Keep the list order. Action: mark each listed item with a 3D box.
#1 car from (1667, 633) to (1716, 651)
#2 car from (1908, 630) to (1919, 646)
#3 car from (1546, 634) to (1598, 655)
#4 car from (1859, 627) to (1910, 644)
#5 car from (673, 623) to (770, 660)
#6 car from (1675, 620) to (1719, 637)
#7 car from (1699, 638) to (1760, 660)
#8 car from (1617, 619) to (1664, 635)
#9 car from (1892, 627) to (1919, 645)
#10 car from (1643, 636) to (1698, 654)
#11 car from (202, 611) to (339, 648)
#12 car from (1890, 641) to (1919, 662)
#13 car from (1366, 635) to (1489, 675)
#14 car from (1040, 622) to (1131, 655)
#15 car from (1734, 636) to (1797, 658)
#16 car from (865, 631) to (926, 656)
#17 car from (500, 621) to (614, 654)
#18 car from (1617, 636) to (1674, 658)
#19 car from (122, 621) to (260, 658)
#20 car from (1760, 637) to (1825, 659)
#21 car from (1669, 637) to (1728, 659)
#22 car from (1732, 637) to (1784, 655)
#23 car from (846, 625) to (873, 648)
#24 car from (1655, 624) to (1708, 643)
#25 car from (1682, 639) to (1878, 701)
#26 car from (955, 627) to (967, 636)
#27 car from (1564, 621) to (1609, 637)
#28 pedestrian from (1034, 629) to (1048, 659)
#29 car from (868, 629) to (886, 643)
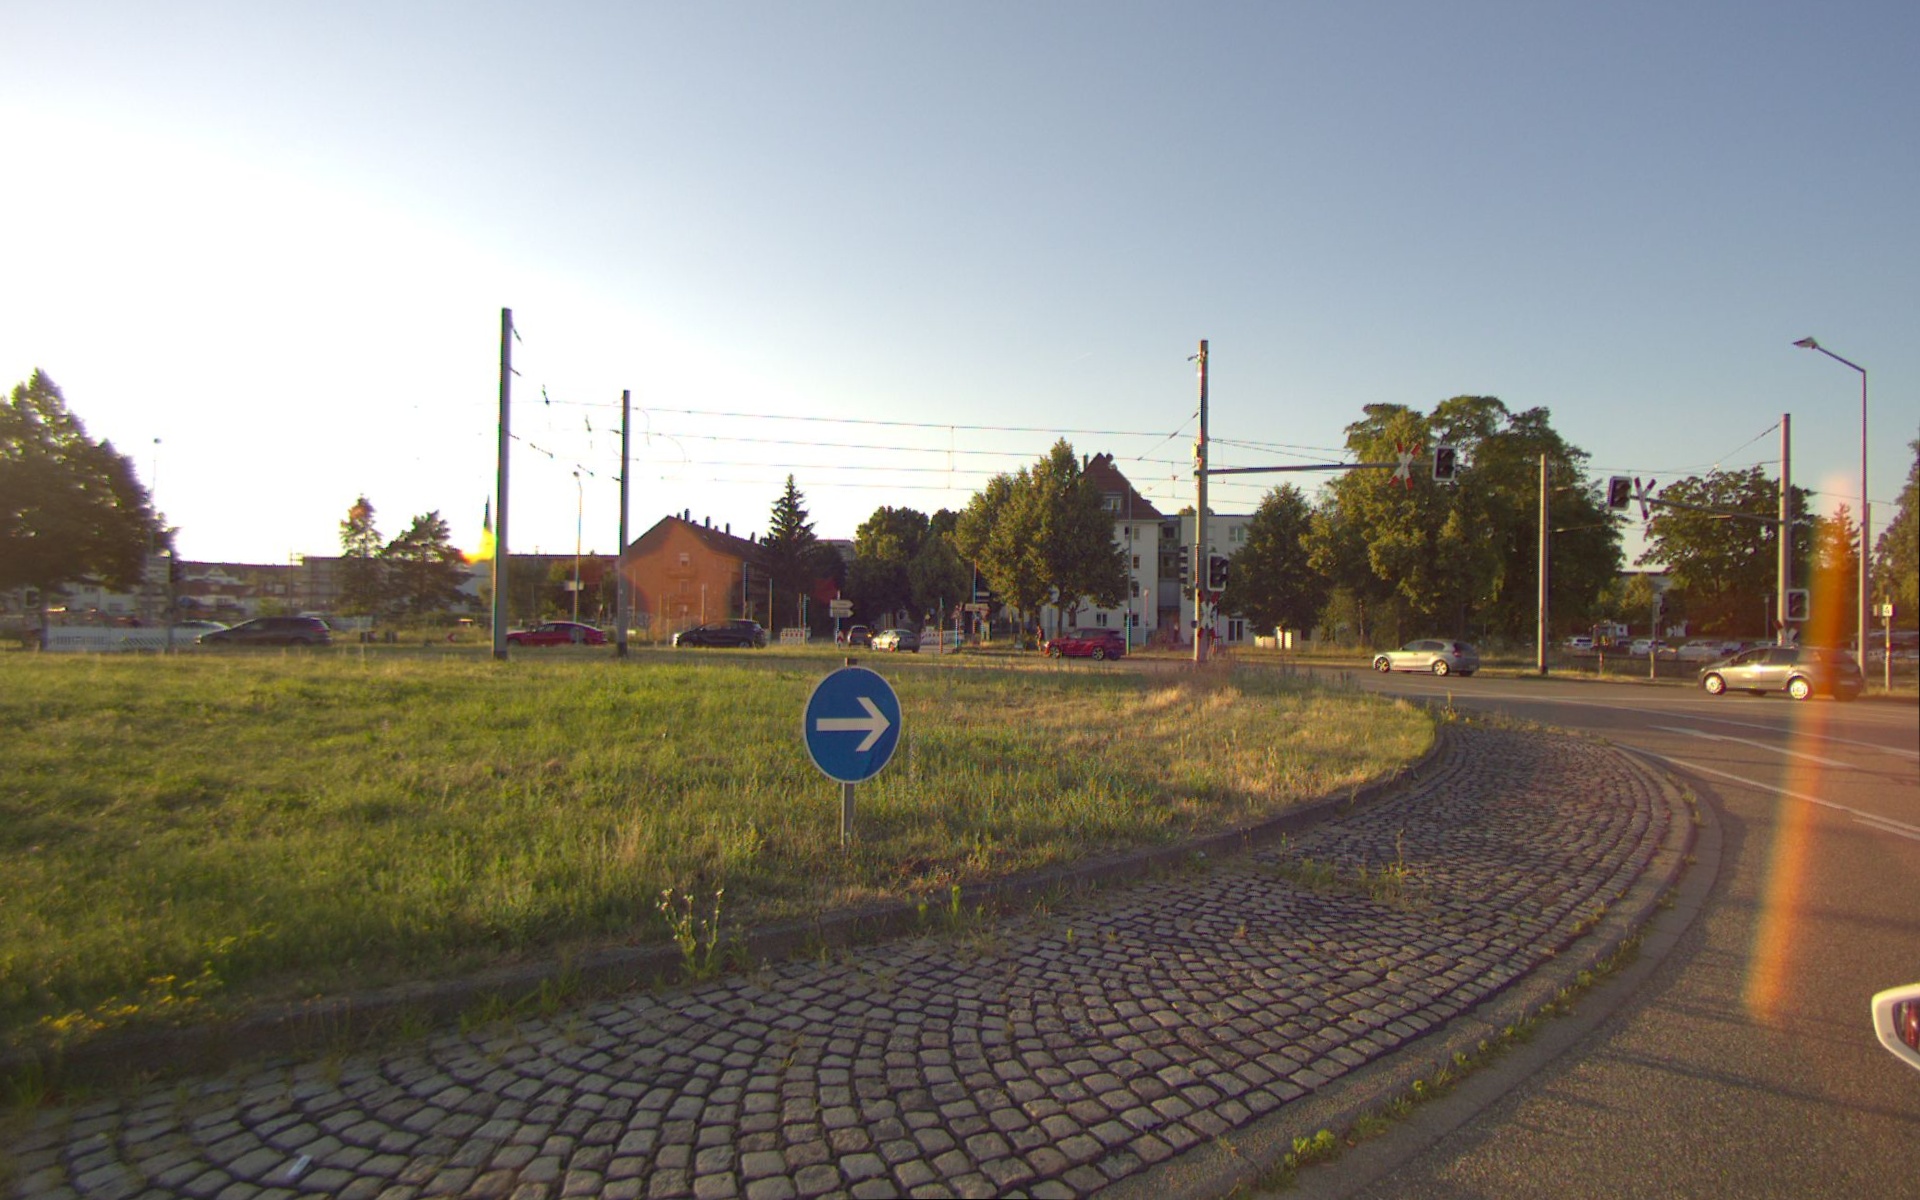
[{"bbox_3d":[73.160,4.218,100.543,3.934,1.684,1.994,0,-1,35],"label":"car"},{"bbox_3d":[105.585,4.147,108.680,1.971,1.728,3.979,1,-1,-22],"label":"car"},{"bbox_3d":[49.409,3.568,81.201,1.960,1.625,4.002,1,-1,3],"label":"car"},{"bbox_3d":[108.034,4.165,117.409,3.919,1.840,2.001,1,-1,5],"label":"car"},{"bbox_3d":[-10.819,1.874,45.815,3.920,1.605,1.896,1,-1,1],"label":"car"},{"bbox_3d":[93.208,3.628,126.994,4.033,2.040,2.001,1,-1,4],"label":"car"},{"bbox_3d":[61.629,3.936,80.530,1.960,1.625,4.002,1,-1,3],"label":"car"},{"bbox_3d":[86.258,3.420,127.404,4.505,2.040,2.001,1,-1,5],"label":"car"},{"bbox_3d":[107.453,4.065,112.557,3.919,2.040,2.001,1,-1,11],"label":"car"},{"bbox_3d":[69.208,4.359,97.899,3.919,1.684,1.904,1,-1,5],"label":"car"},{"bbox_3d":[-27.878,1.195,40.805,4.330,1.394,1.985,1,-1,-29],"label":"car"},{"bbox_3d":[76.347,4.114,79.441,1.960,1.625,4.002,1,-1,3],"label":"car"},{"bbox_3d":[18.466,2.149,39.821,1.847,1.408,4.128,1,-1,-31],"label":"car"},{"bbox_3d":[6.562,2.002,52.619,4.343,1.594,1.994,0,-1,35],"label":"car"},{"bbox_3d":[64.010,3.741,79.900,1.960,1.625,4.002,1,-1,3],"label":"car"},{"bbox_3d":[-4.156,2.750,64.048,1.867,1.483,4.627,1,-1,-34],"label":"car"},{"bbox_3d":[-17.881,1.673,44.801,4.420,1.410,1.891,1,-1,-13],"label":"car"},{"bbox_3d":[54.751,3.726,80.308,1.960,1.625,4.002,1,-1,3],"label":"car"},{"bbox_3d":[-33.990,1.748,44.547,4.416,1.600,1.991,1,-1,-20],"label":"car"},{"bbox_3d":[66.363,3.814,80.139,1.960,1.625,4.002,1,-1,3],"label":"car"},{"bbox_3d":[59.510,3.874,81.008,1.960,1.625,4.002,1,-1,3],"label":"car"},{"bbox_3d":[77.345,4.449,97.381,3.938,1.684,1.894,0,-1,39],"label":"car"},{"bbox_3d":[-7.854,2.826,78.243,1.963,1.659,4.521,0,0,-6],"label":"car"},{"bbox_3d":[80.230,3.680,111.706,4.507,2.040,2.000,1,-1,0],"label":"car"},{"bbox_3d":[23.153,1.924,28.574,1.834,1.473,4.156,2,-1,-9],"label":"car"},{"bbox_3d":[0.234,6.087,195.073,1.960,1.618,4.002,1,-1,5],"label":"car"},{"bbox_3d":[79.583,3.689,127.590,4.507,2.040,2.000,1,-1,0],"label":"car"},{"bbox_3d":[5.258,2.854,65.158,0.614,1.918,0.662,2,0,-35],"label":"pedestrian"},{"bbox_3d":[-8.494,3.698,103.129,1.661,1.372,4.000,1,-1,-1],"label":"car"}]
